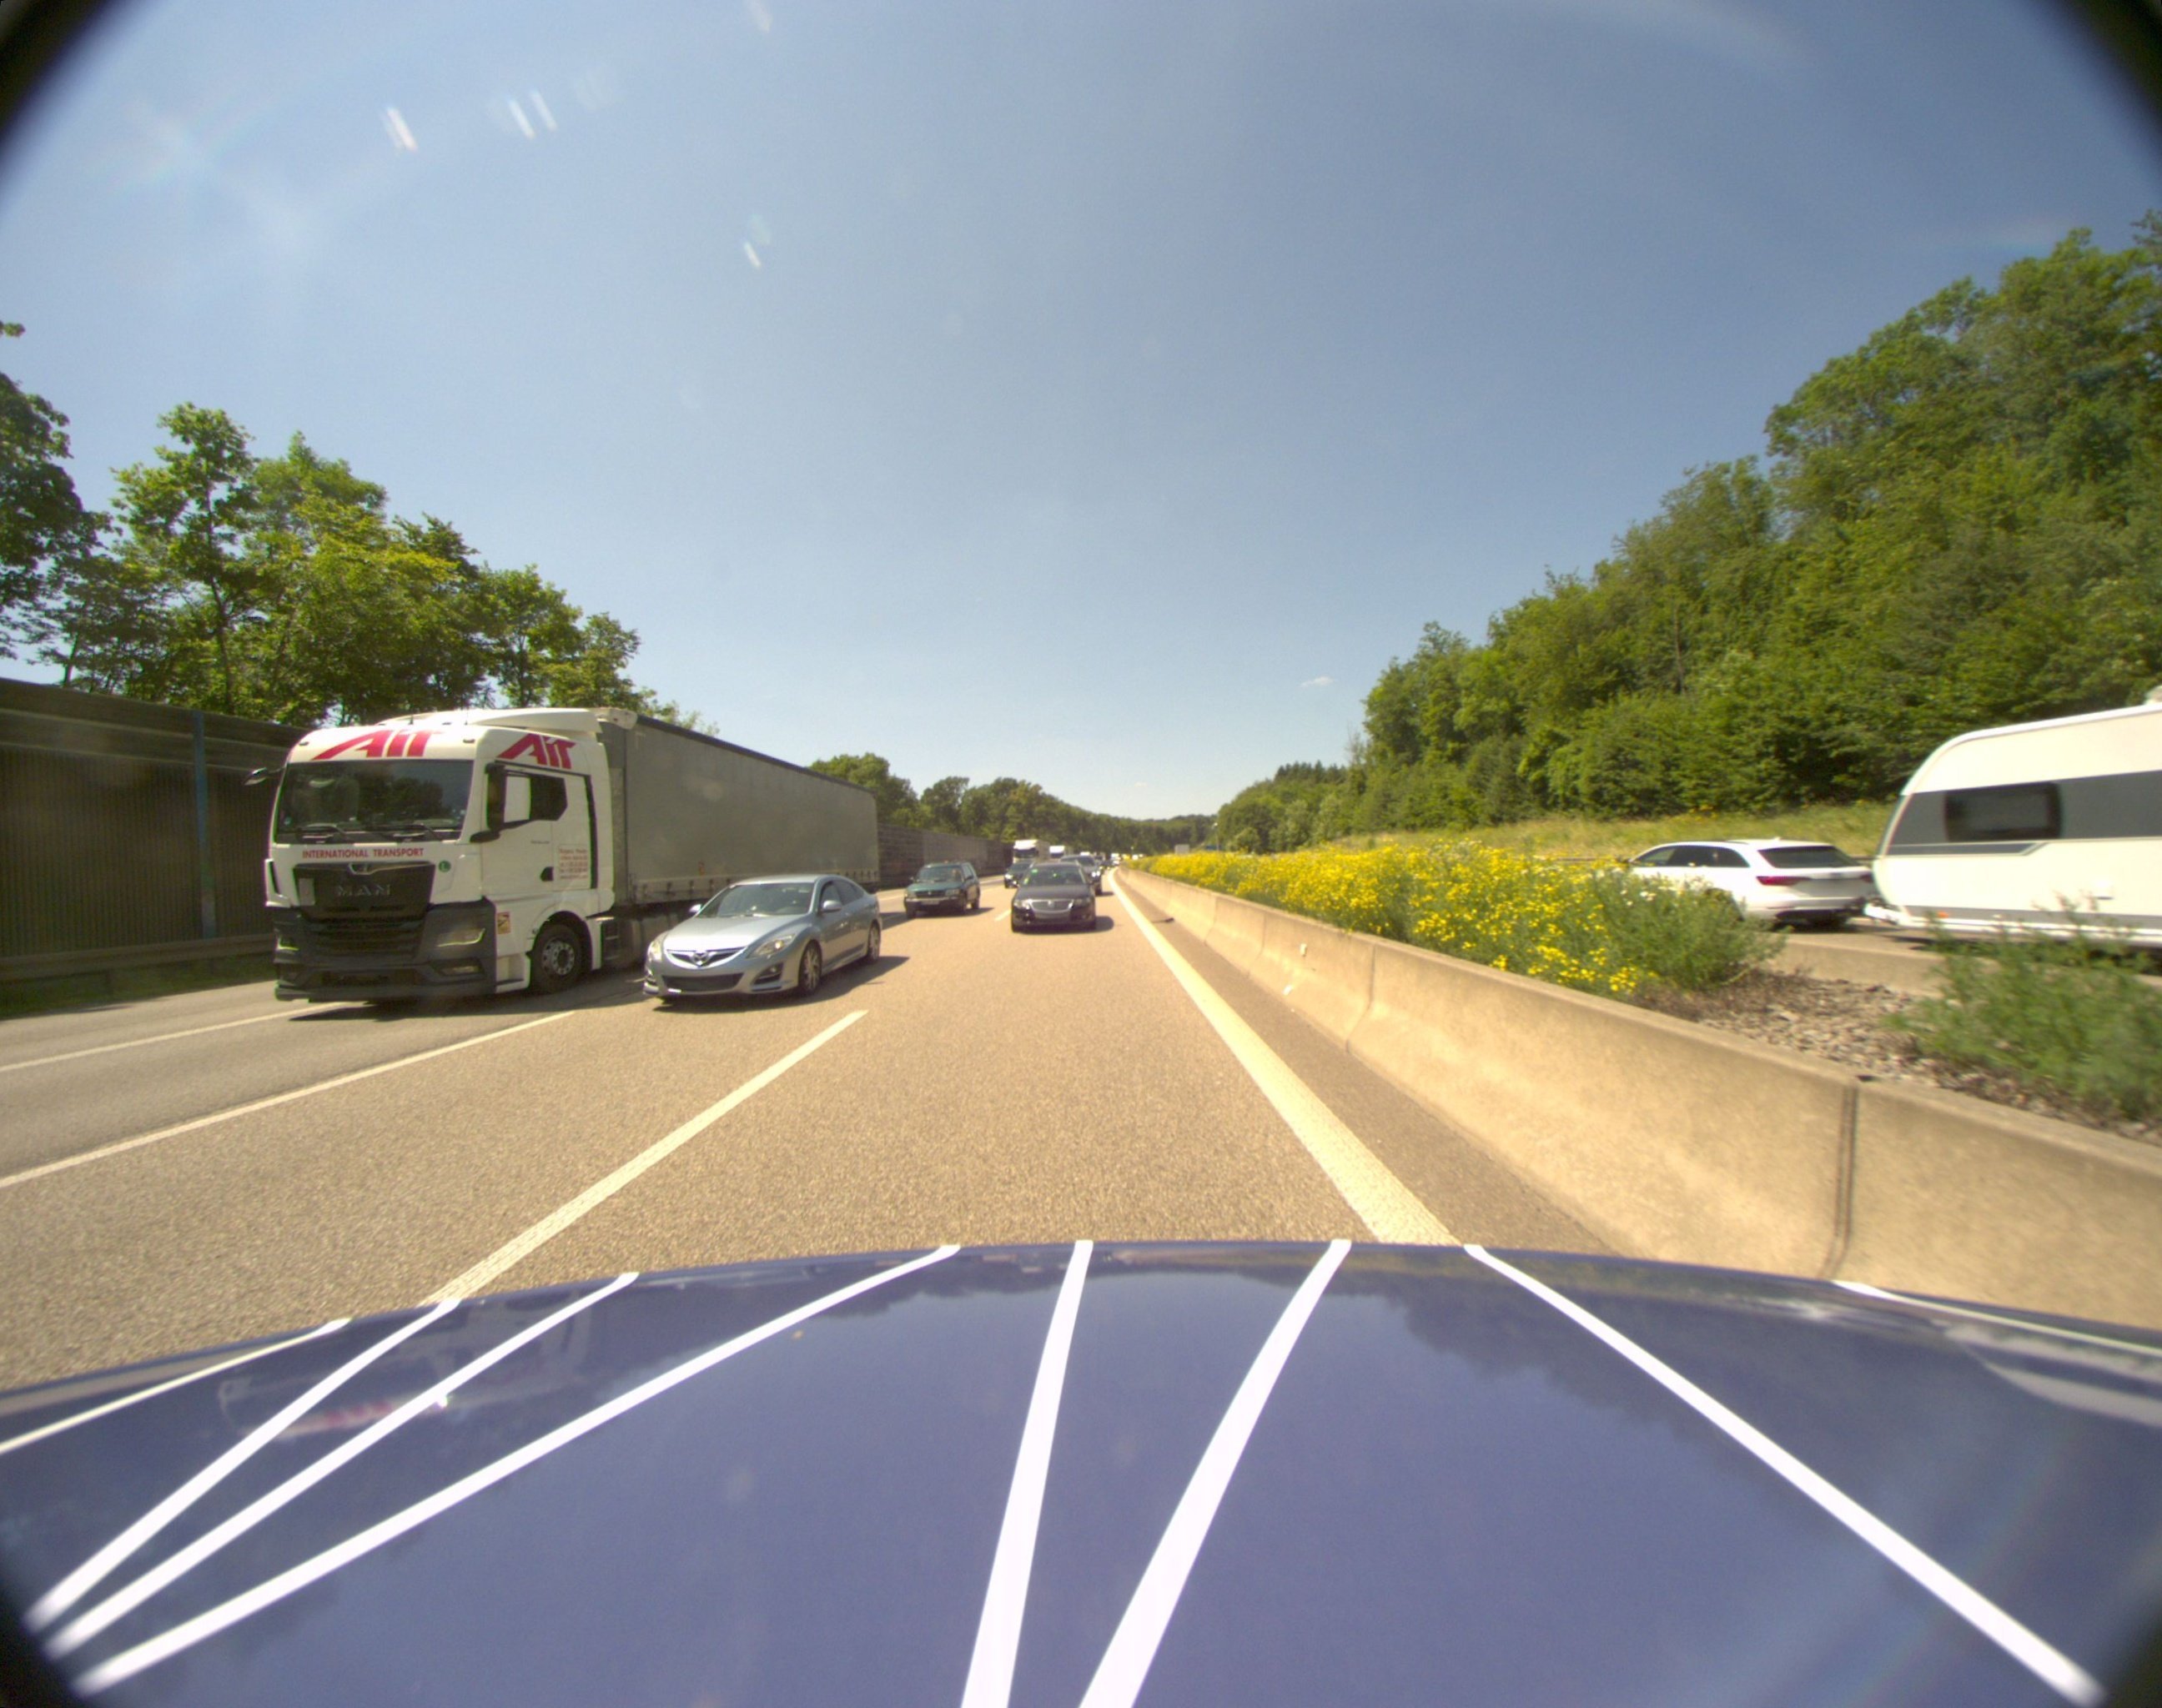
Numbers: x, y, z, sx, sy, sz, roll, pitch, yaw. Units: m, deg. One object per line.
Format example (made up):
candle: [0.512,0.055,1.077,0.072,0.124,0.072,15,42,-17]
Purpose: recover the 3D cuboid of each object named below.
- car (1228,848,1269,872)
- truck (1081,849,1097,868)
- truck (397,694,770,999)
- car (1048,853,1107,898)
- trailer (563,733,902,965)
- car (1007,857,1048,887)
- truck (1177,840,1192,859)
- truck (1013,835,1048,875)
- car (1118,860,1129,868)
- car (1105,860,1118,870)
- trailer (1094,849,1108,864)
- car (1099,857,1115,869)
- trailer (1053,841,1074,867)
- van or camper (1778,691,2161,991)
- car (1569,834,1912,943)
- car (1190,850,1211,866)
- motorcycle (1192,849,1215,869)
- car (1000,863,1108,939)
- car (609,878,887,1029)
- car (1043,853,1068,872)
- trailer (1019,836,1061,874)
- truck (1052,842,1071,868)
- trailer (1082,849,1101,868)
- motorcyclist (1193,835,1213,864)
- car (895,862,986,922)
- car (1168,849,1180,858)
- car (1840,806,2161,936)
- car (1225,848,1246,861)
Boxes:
car: [11.395,0.403,51.991,1.844,1.513,4.357,-2,0,1]
truck: [1.996,1.149,185.871,2.852,4.381,5.243,-3,0,8]
truck: [-7.931,-0.100,13.168,2.605,4.066,5.552,-2,0,0]
car: [-0.062,0.820,30.875,1.998,1.641,4.001,-2,0,4]
trailer: [-7.856,-0.086,20.450,2.605,4.066,13.591,-2,0,0]
car: [-3.120,1.015,45.158,1.998,1.641,4.001,-3,0,2]
truck: [22.384,-0.906,163.258,2.834,3.915,13.754,-2,0,9]
truck: [-5.560,0.138,84.491,2.811,4.190,5.424,-3,0,6]
car: [9.054,2.159,162.643,1.997,1.641,4.002,-3,0,7]
car: [5.668,2.062,141.487,1.997,1.641,4.002,-3,0,7]
trailer: [5.969,0.678,222.592,3.153,4.060,6.187,-3,0,10]
car: [3.834,1.329,112.862,1.997,1.641,4.002,-3,0,7]
trailer: [-2.898,0.029,130.567,2.542,4.149,10.180,-3,0,4]
van or camper: [10.590,-0.148,6.566,2.314,2.620,7.399,-2,0,0]
car: [10.568,0.478,12.772,1.760,1.430,4.609,-2,0,1]
car: [13.946,0.467,89.007,1.741,1.723,4.148,-2,0,0]
motorcycle: [7.830,0.327,48.836,1.043,1.208,2.613,-2,0,1]
car: [-0.481,0.960,17.119,1.907,1.410,4.002,-3,-1,5]
car: [-4.051,1.111,10.118,1.861,1.426,4.176,-3,-1,-1]
car: [-2.363,0.812,71.418,1.998,1.641,4.001,-3,0,3]
trailer: [-4.759,0.165,91.564,2.820,4.189,13.471,-3,-1,6]
truck: [-3.218,0.138,125.674,2.545,4.149,4.746,-3,0,4]
trailer: [2.756,1.178,191.072,2.852,4.391,13.036,-3,-1,8]
motorcyclist: [7.808,-0.277,48.733,1.034,1.775,1.284,-2,0,1]
car: [-4.147,1.078,23.074,1.907,1.550,4.000,-3,-1,1]
car: [17.885,-0.113,146.696,1.889,1.745,4.277,-2,0,1]
car: [14.886,0.185,11.801,1.760,1.686,4.422,-2,0,1]
car: [21.629,0.048,106.459,1.998,1.682,4.767,-2,0,1]
